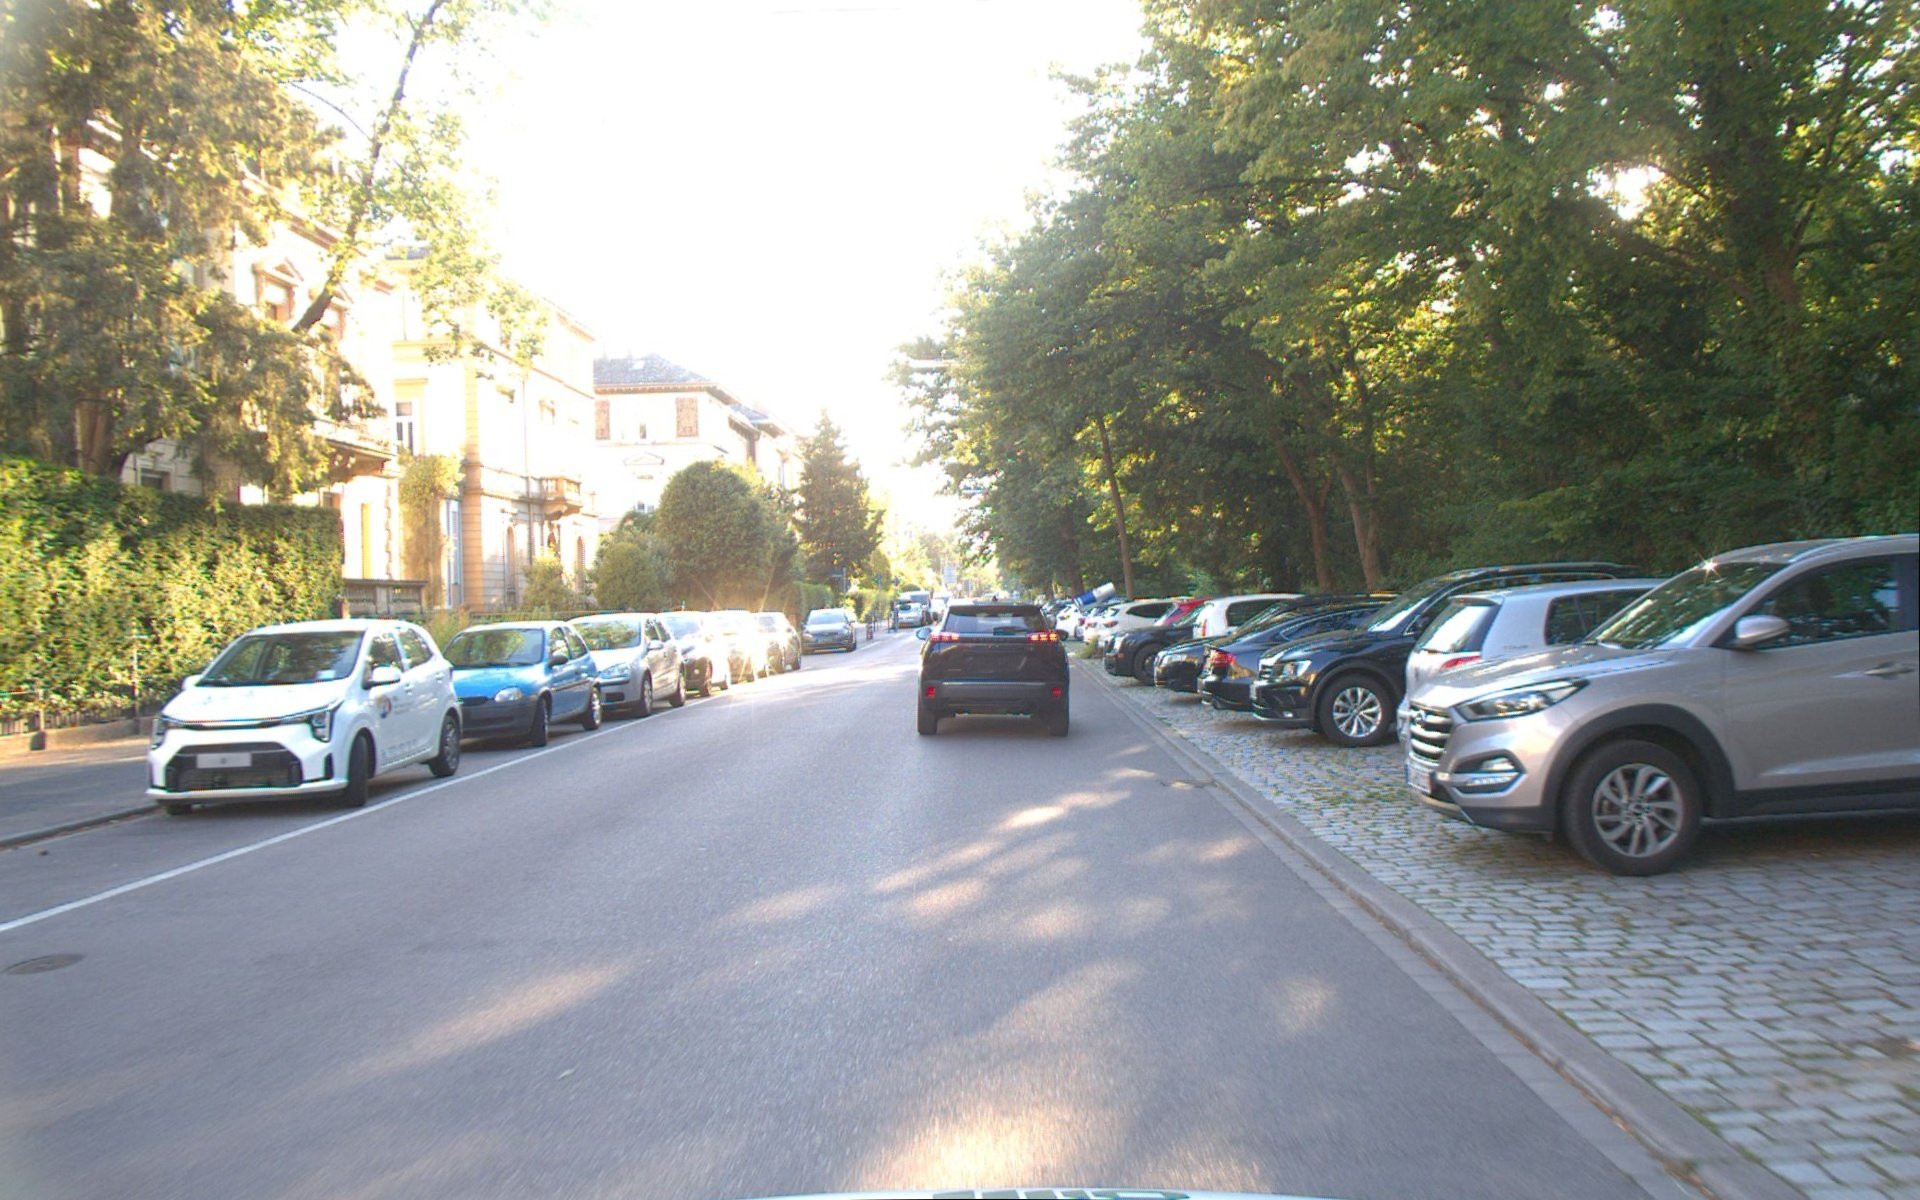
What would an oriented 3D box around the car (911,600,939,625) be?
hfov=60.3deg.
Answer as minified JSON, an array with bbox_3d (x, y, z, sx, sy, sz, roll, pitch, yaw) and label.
[{"bbox_3d":[-2.595,0.961,124.859,1.952,1.799,4.000,-1,-1,1],"label":"car"}]

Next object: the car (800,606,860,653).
[{"bbox_3d":[-4.439,0.988,56.963,1.716,1.438,3.764,-3,0,0],"label":"car"}]

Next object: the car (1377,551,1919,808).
[{"bbox_3d":[5.126,0.519,11.687,3.905,1.582,1.725,-2,-1,1],"label":"car"}]

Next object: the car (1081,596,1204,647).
[{"bbox_3d":[6.202,0.727,56.491,3.908,1.653,1.756,-1,-1,-4],"label":"car"}]

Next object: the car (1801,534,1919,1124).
[{"bbox_3d":[4.747,0.548,4.074,4.393,1.581,1.857,-2,1,-1],"label":"car"}]

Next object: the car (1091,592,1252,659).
[{"bbox_3d":[5.301,0.631,41.850,3.732,1.474,1.825,-3,-1,-3],"label":"car"}]

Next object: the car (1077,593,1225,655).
[{"bbox_3d":[5.404,0.681,47.122,3.908,1.653,1.756,-1,-1,-4],"label":"car"}]

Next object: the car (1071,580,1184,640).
[{"bbox_3d":[6.193,0.385,61.414,3.908,2.126,1.756,-1,-1,-4],"label":"car"}]

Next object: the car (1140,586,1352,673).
[{"bbox_3d":[5.549,0.569,32.393,3.732,1.474,1.876,-3,-1,-3],"label":"car"}]

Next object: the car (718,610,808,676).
[{"bbox_3d":[-4.799,1.039,40.743,1.580,1.492,4.036,-2,-1,2],"label":"car"}]

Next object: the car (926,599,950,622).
[{"bbox_3d":[-1.852,0.906,140.637,1.952,1.847,4.000,-1,-1,1],"label":"car"}]

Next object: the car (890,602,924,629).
[{"bbox_3d":[-3.252,0.943,102.263,1.860,1.601,4.000,-1,-1,1],"label":"car"}]

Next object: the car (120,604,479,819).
[{"bbox_3d":[-5.555,0.866,14.409,1.581,1.541,3.711,-3,-1,0],"label":"car"}]

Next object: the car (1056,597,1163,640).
[{"bbox_3d":[5.763,0.717,64.196,3.908,1.552,1.756,-1,-1,-4],"label":"car"}]

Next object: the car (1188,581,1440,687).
[{"bbox_3d":[5.656,0.541,26.831,3.728,1.474,1.827,-3,-1,4],"label":"car"}]

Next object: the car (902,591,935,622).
[{"bbox_3d":[-2.801,0.433,112.993,1.952,2.049,4.001,-1,-1,2],"label":"car"}]

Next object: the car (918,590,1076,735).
[{"bbox_3d":[0.386,0.687,20.254,1.735,1.596,4.108,0,0,-1],"label":"car"}]

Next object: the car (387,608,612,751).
[{"bbox_3d":[-5.444,0.894,20.006,1.580,1.511,3.742,-2,-1,1],"label":"car"}]

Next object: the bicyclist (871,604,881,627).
[{"bbox_3d":[-6.619,1.204,130.294,0.679,1.823,0.772,-1,-1,-2],"label":"bicyclist"}]

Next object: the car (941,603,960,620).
[{"bbox_3d":[-1.024,1.247,181.964,1.952,1.847,4.000,-1,-1,1],"label":"car"}]

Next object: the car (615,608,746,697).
[{"bbox_3d":[-5.090,0.927,30.552,1.580,1.492,4.036,-2,-1,2],"label":"car"}]

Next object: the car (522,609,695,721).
[{"bbox_3d":[-5.158,0.915,24.777,1.580,1.492,4.036,-2,-1,2],"label":"car"}]

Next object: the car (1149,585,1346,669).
[{"bbox_3d":[6.016,0.565,34.894,3.732,1.536,1.825,-3,-1,-3],"label":"car"}]

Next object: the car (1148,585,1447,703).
[{"bbox_3d":[4.869,0.635,24.339,4.070,1.474,1.732,-3,-1,4],"label":"car"}]

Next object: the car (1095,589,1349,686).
[{"bbox_3d":[4.617,0.664,29.610,4.157,1.474,2.021,-3,-1,-1],"label":"car"}]

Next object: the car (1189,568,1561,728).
[{"bbox_3d":[4.791,0.551,19.500,3.905,1.581,1.725,-3,-1,1],"label":"car"}]

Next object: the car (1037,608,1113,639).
[{"bbox_3d":[5.980,1.228,86.641,3.904,1.552,1.758,-1,-1,2],"label":"car"}]

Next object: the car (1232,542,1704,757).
[{"bbox_3d":[5.031,0.487,16.839,4.158,1.820,1.884,-3,-1,1],"label":"car"}]

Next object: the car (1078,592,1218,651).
[{"bbox_3d":[5.583,0.634,49.391,3.908,1.653,1.756,-1,-1,-4],"label":"car"}]

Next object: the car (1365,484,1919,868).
[{"bbox_3d":[4.702,0.351,9.432,4.219,1.836,2.035,-3,-1,0],"label":"car"}]

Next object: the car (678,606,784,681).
[{"bbox_3d":[-4.929,0.923,36.044,1.580,1.492,4.036,-2,-1,2],"label":"car"}]
